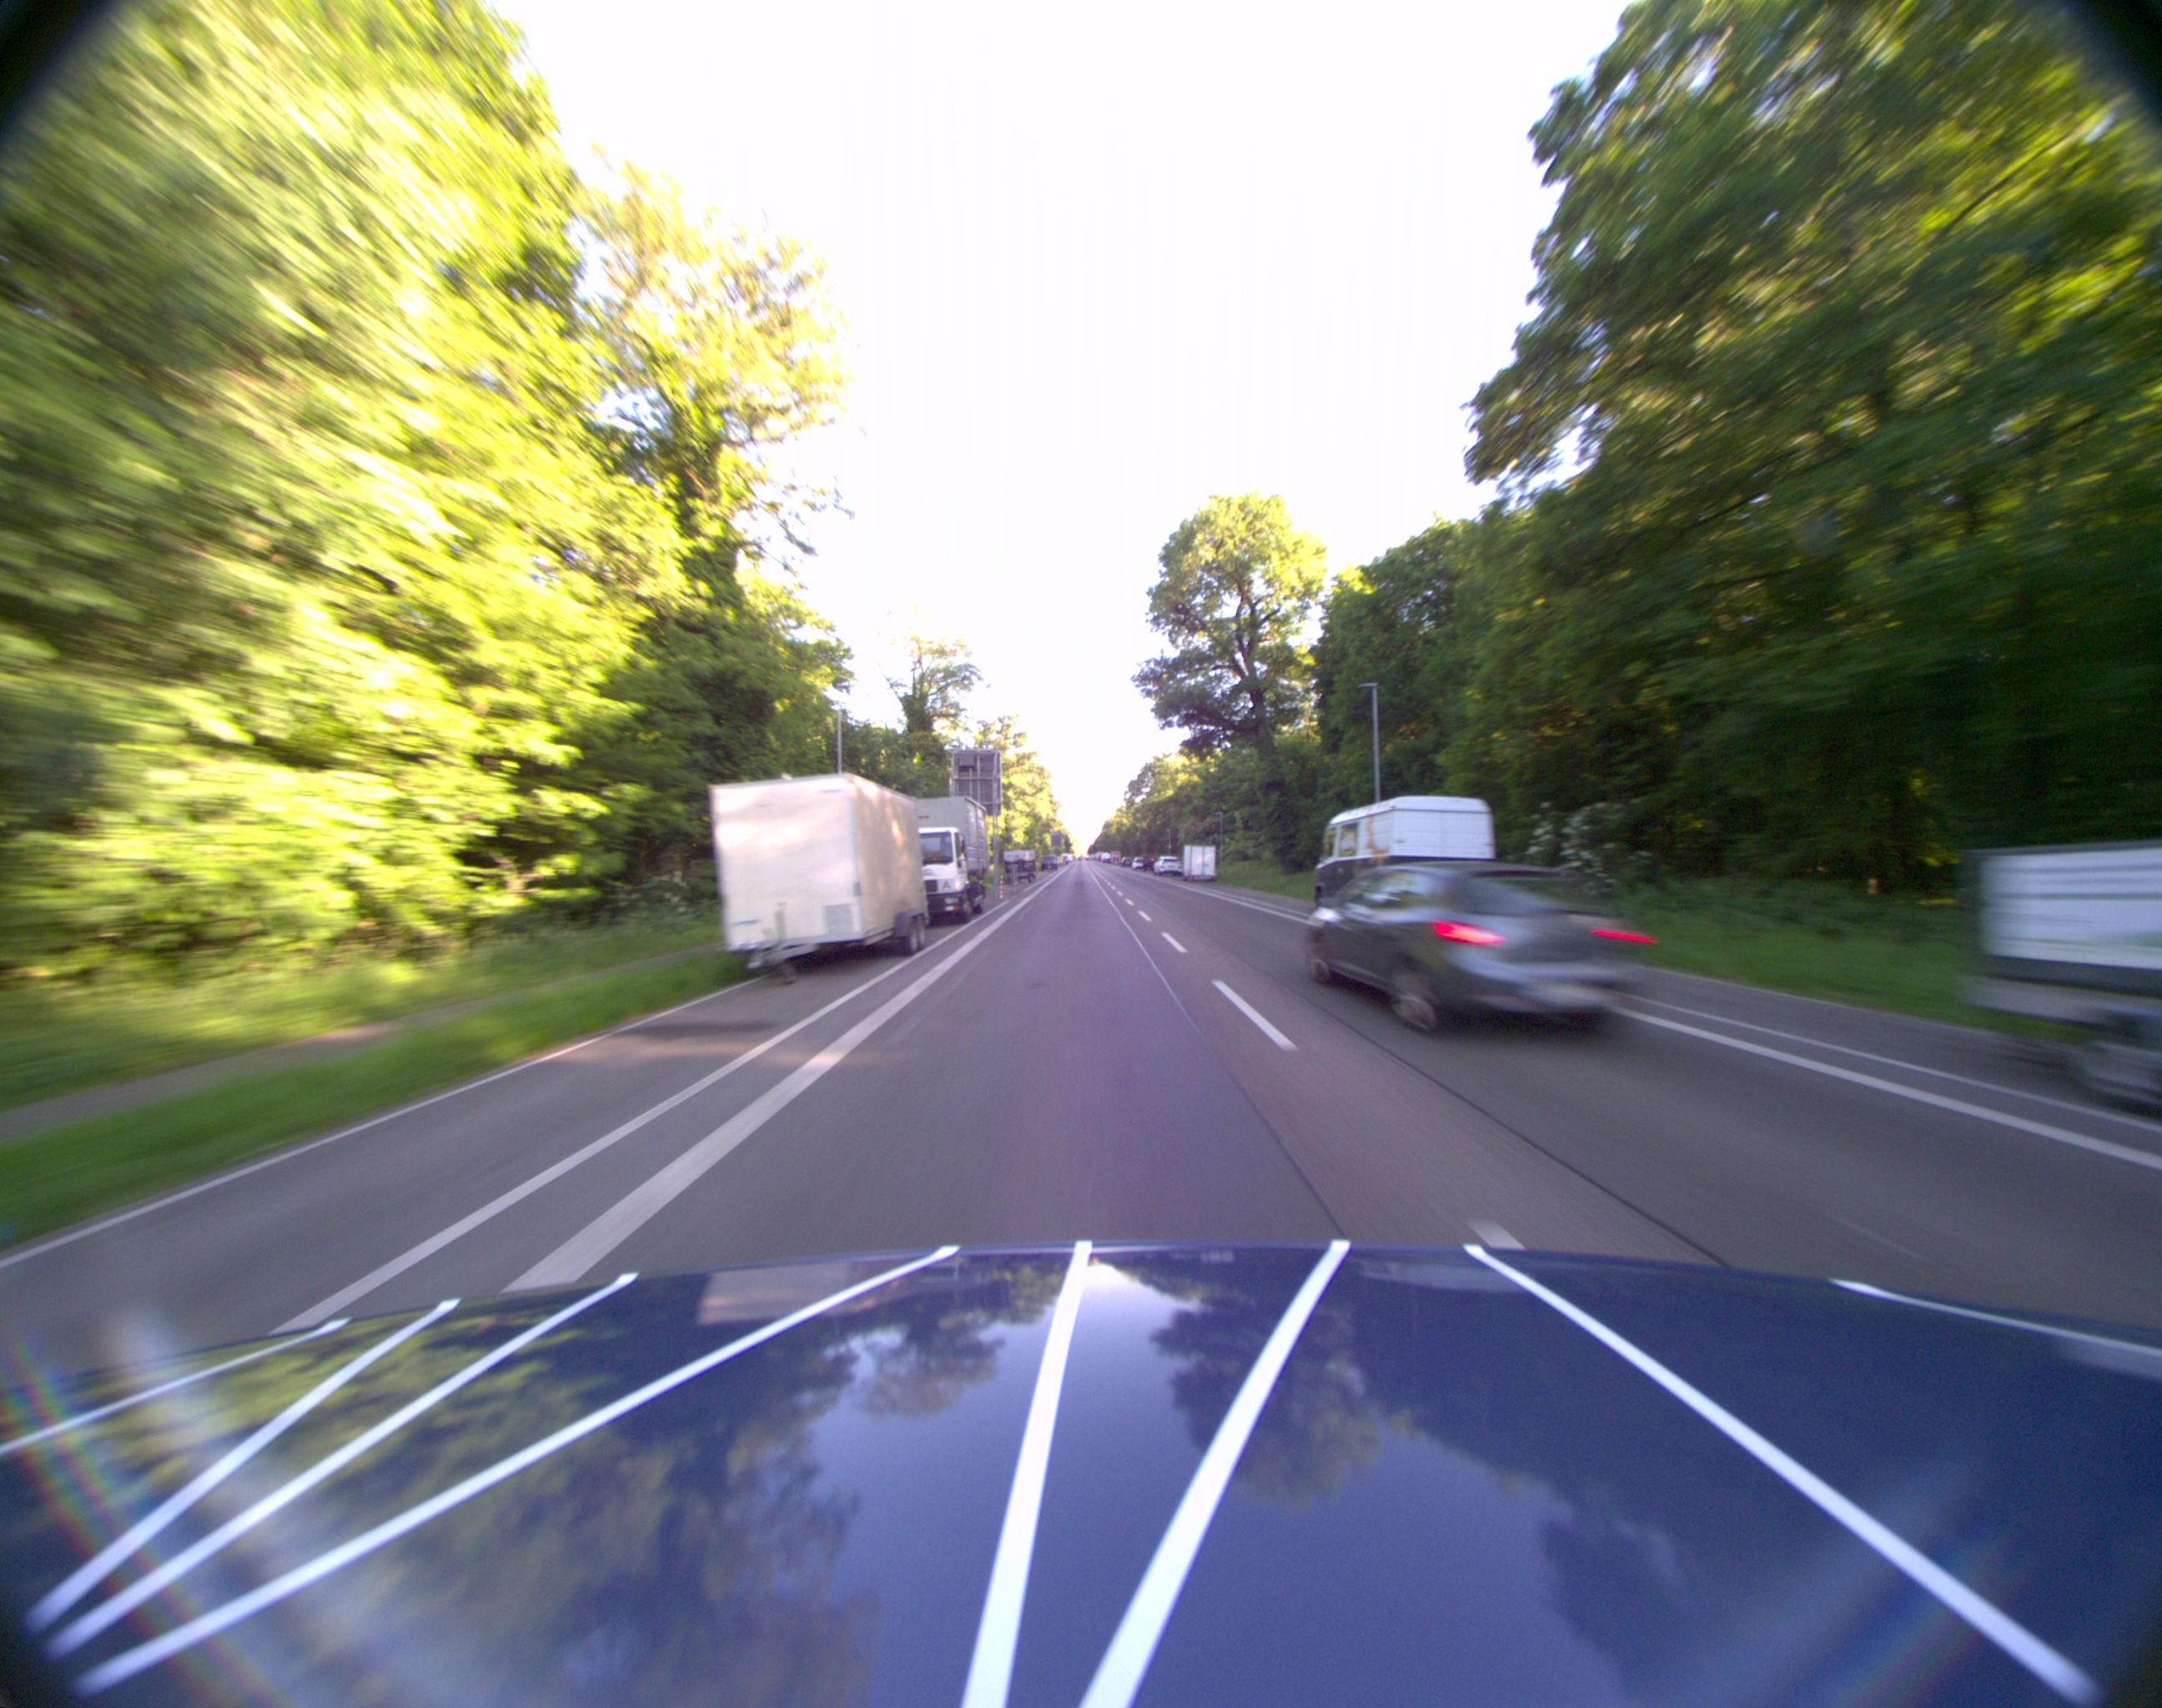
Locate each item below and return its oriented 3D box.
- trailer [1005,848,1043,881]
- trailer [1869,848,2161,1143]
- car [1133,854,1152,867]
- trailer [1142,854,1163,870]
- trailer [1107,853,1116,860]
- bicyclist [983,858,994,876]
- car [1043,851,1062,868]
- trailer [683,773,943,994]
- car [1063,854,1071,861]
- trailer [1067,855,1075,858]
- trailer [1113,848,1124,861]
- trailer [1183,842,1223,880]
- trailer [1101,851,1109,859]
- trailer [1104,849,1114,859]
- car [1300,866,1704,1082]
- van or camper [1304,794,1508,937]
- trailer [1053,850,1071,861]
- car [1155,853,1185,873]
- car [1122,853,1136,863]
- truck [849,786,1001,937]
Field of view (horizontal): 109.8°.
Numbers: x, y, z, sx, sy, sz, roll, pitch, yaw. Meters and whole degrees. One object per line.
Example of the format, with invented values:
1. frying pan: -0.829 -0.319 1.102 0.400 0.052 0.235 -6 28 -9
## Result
1. trailer: -3.768 0.657 50.516 1.616 2.100 2.399 -2 0 21
2. trailer: 6.871 0.801 4.465 1.472 1.650 3.368 1 1 13
3. car: 7.181 0.696 89.504 1.871 1.442 4.071 1 0 0
4. trailer: 7.254 0.784 76.609 1.397 1.565 2.678 -1 0 20
5. trailer: 7.428 0.601 184.657 1.846 1.457 4.466 -2 0 0
6. bicyclist: -7.091 1.008 58.369 0.612 1.317 1.175 -2 0 0
7. car: -3.509 0.651 94.788 2.119 2.002 5.039 -3 0 0
8. trailer: -4.033 0.388 12.687 2.278 2.828 5.207 -3 0 1
9. car: -3.111 0.781 167.221 1.590 1.521 3.011 -3 0 0
10. trailer: -3.190 0.799 246.548 2.439 0.794 5.659 -2 0 0
11. trailer: 7.676 0.040 155.633 1.998 2.606 4.085 -1 0 0
12. trailer: 7.716 0.425 48.403 2.080 2.280 3.486 0 0 2
13. trailer: 7.051 0.221 225.179 2.072 2.466 3.560 -1 0 -3
14. trailer: 7.481 0.074 204.163 2.352 2.514 4.343 -1 0 -3
15. car: 3.506 0.870 7.280 1.683 1.407 4.000 -1 0 1
16. van or camper: 7.158 0.222 17.623 2.307 2.752 5.557 1 0 0
17. trailer: -3.622 0.362 145.030 1.964 2.011 3.849 -1 0 20
18. car: 7.178 0.728 61.619 1.819 1.562 4.206 1 0 -2
19. car: 7.330 0.661 116.034 1.859 1.456 4.784 -1 0 0
20. truck: -3.935 0.142 20.918 2.511 3.347 7.107 -2 1 1
